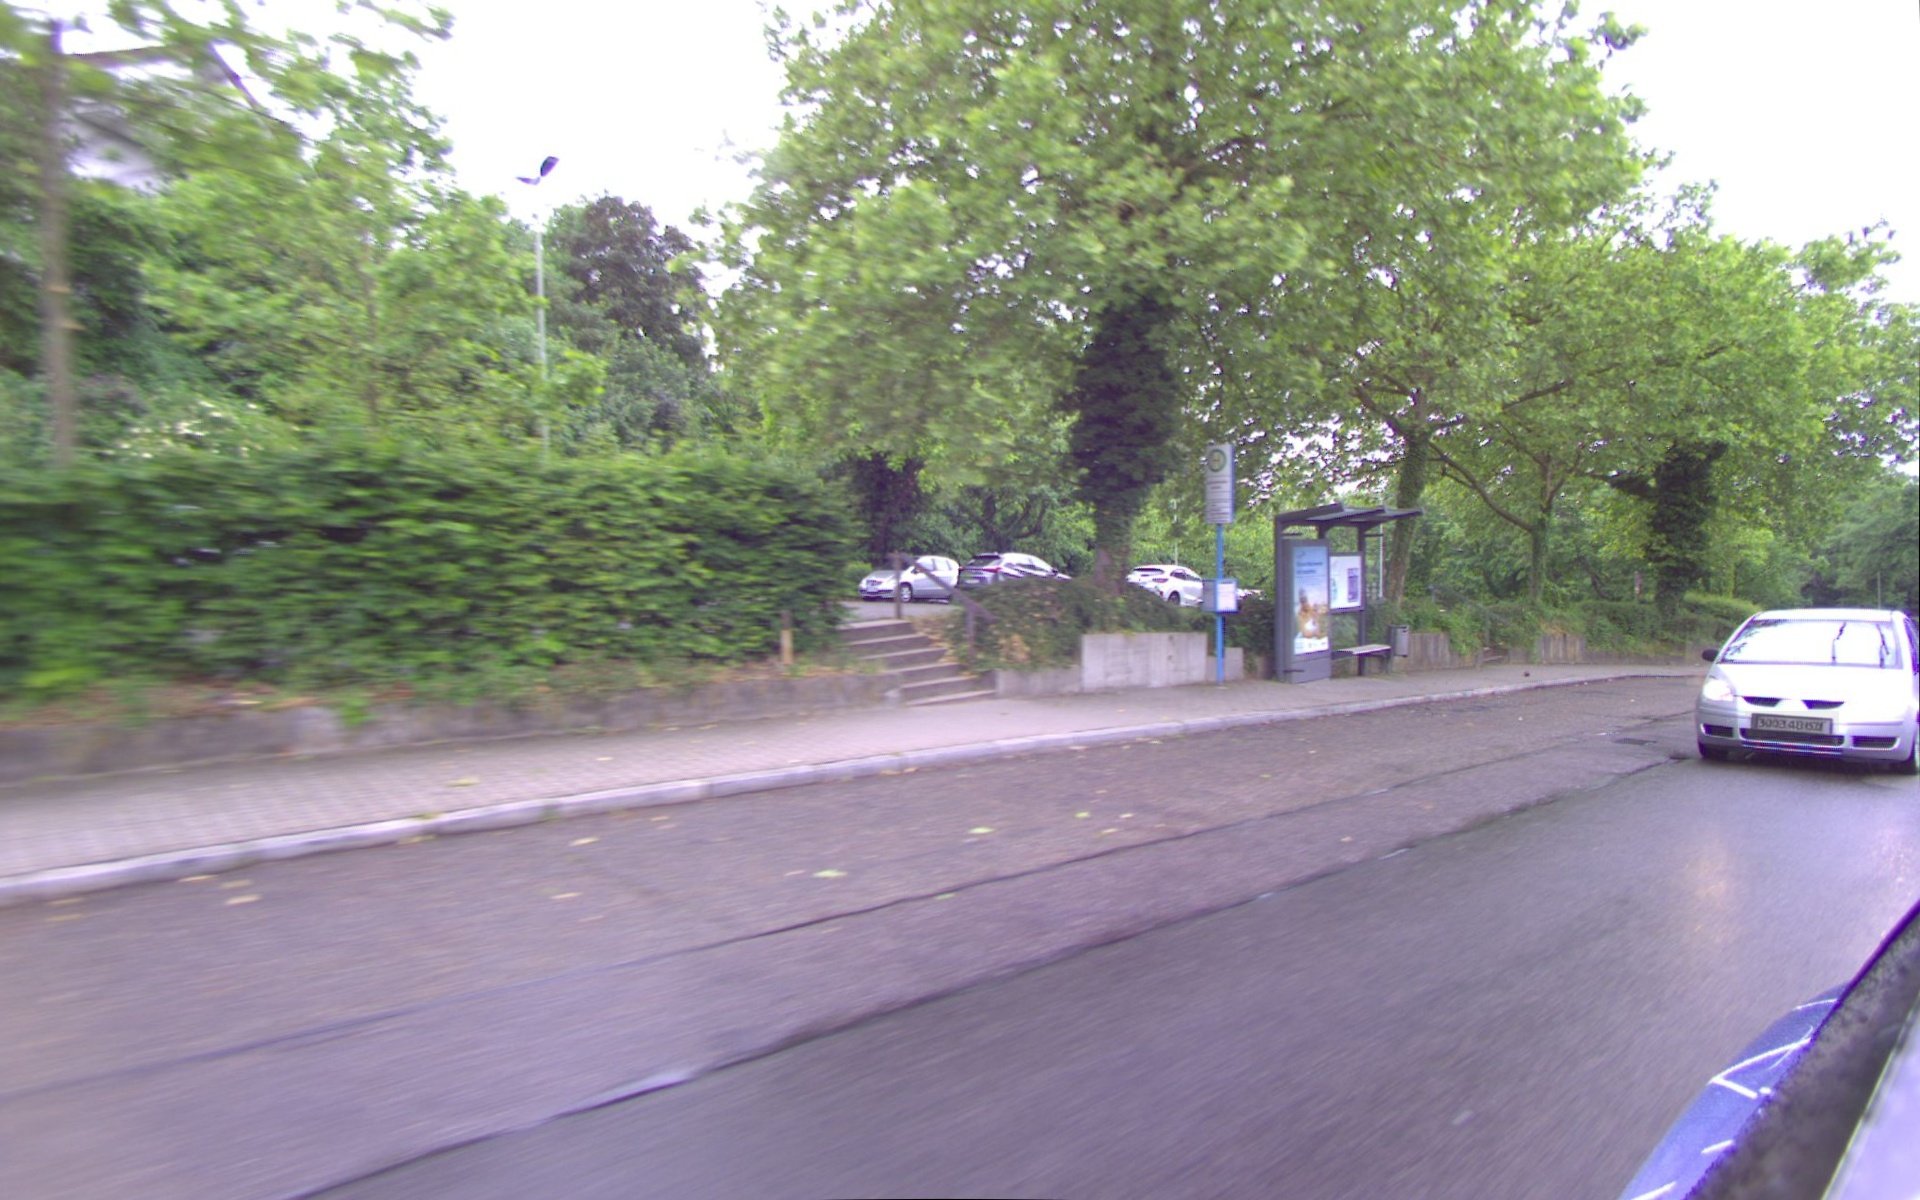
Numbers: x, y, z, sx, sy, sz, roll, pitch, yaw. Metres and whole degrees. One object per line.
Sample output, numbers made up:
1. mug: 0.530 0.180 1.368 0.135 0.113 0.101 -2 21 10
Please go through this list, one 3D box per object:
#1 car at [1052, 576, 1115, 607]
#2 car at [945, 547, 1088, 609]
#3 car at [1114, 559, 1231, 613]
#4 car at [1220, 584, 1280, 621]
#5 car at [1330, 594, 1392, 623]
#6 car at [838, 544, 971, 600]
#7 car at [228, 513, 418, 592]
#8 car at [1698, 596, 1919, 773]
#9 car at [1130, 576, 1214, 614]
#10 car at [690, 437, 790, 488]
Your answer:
1. car: 6.906 -0.442 56.458 1.701 1.543 3.571 -2 -4 43
2. car: 1.683 -0.561 28.988 1.894 1.472 4.104 -3 -4 44
3. car: 6.899 -0.394 32.656 1.893 1.472 4.106 -2 -4 42
4. car: 17.420 0.177 60.681 1.701 2.040 4.285 -2 -4 43
5. car: 22.523 0.500 56.823 1.893 1.472 4.106 -2 -4 42
6. car: -1.742 -0.853 32.591 1.894 1.472 4.104 -3 -4 44
7. car: -16.252 -1.150 25.867 4.121 1.793 1.794 0 -3 16
8. car: 9.283 0.729 10.591 3.929 1.524 1.639 0 0 -40
9. car: 9.541 -0.169 45.429 1.893 1.472 4.106 -2 -4 42
10. car: -10.031 -6.238 46.179 4.126 1.793 1.791 0 -3 19
